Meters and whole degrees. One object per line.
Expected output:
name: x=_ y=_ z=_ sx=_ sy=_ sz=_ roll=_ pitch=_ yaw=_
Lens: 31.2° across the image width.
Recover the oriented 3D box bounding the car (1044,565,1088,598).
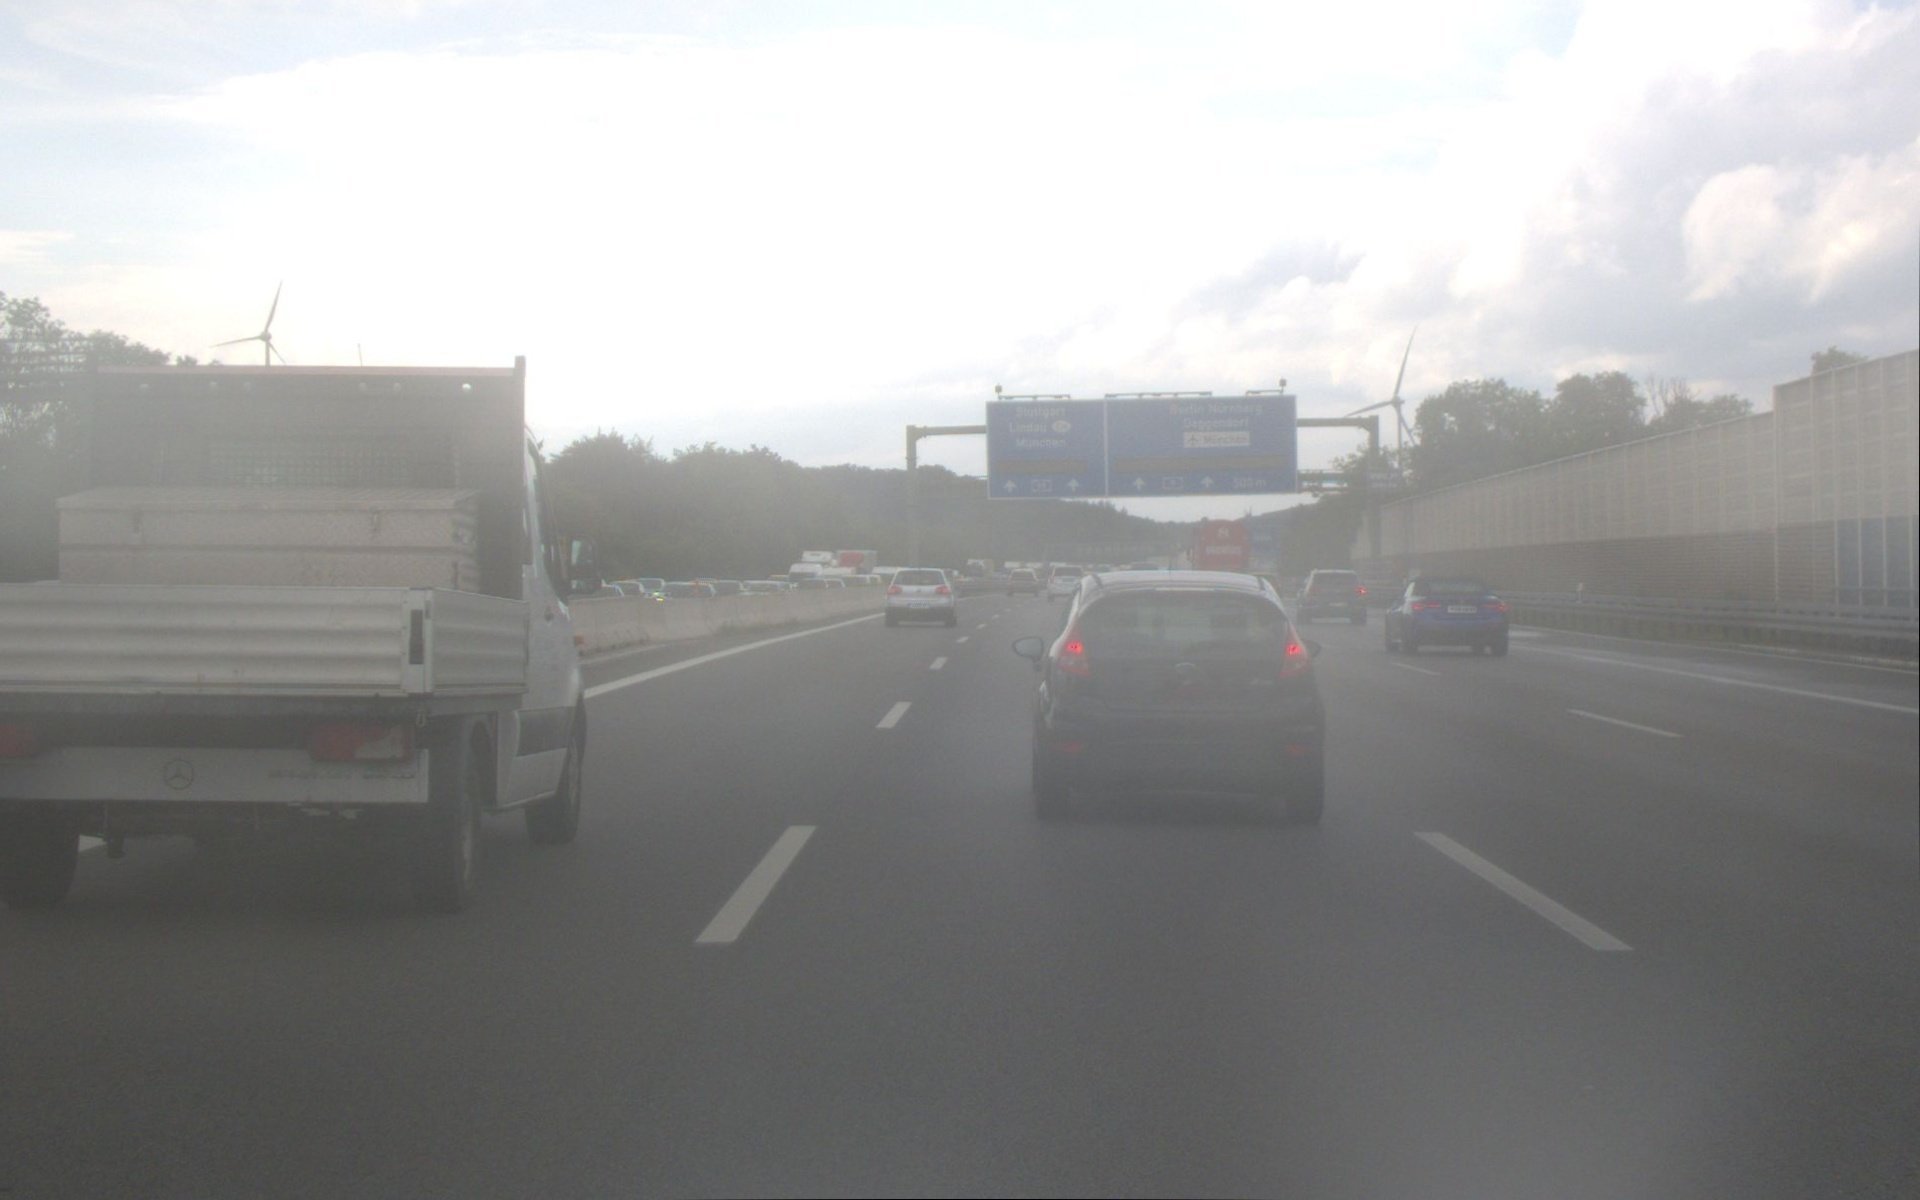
car: x=5.064 y=-0.898 z=164.586 sx=1.968 sy=1.555 sz=4.433 roll=0 pitch=0 yaw=0

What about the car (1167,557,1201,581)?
car: x=15.098 y=-2.083 z=231.959 sx=1.968 sy=1.555 sz=4.433 roll=0 pitch=0 yaw=0

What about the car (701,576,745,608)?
car: x=-12.402 y=-0.433 z=180.011 sx=1.723 sy=1.597 sz=4.644 roll=2 pitch=0 yaw=2

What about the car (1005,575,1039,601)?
car: x=3.676 y=-0.704 z=204.515 sx=1.968 sy=1.555 sz=4.433 roll=0 pitch=0 yaw=0

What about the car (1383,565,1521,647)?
car: x=8.765 y=0.084 z=61.526 sx=1.950 sy=1.413 sz=4.232 roll=0 pitch=0 yaw=1

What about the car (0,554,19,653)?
car: x=-19.518 y=0.052 z=65.301 sx=1.688 sy=1.929 sz=5.548 roll=2 pitch=0 yaw=0

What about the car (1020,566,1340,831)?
car: x=1.253 y=0.524 z=21.183 sx=1.717 sy=1.412 sz=4.278 roll=0 pitch=1 yaw=0

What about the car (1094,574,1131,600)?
car: x=9.291 y=-0.816 z=210.049 sx=1.968 sy=1.555 sz=4.433 roll=0 pitch=0 yaw=-1

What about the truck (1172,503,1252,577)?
truck: x=12.812 y=-3.088 z=176.029 sx=3.152 sy=3.589 sz=12.700 roll=1 pitch=1 yaw=0

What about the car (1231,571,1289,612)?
car: x=11.510 y=-0.336 z=132.035 sx=1.882 sy=1.555 sz=4.433 roll=0 pitch=0 yaw=0

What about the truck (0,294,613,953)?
truck: x=-3.113 y=0.008 z=16.349 sx=2.307 sy=2.431 sz=7.149 roll=1 pitch=1 yaw=-1

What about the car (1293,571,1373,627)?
car: x=10.605 y=-0.028 z=97.937 sx=1.882 sy=1.537 sz=4.433 roll=0 pitch=0 yaw=1

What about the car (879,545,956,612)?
car: x=-1.056 y=-0.578 z=87.430 sx=1.717 sy=1.618 sz=4.278 roll=0 pitch=1 yaw=2

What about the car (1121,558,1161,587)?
car: x=9.903 y=-1.494 z=187.967 sx=1.968 sy=1.555 sz=4.433 roll=0 pitch=0 yaw=0
